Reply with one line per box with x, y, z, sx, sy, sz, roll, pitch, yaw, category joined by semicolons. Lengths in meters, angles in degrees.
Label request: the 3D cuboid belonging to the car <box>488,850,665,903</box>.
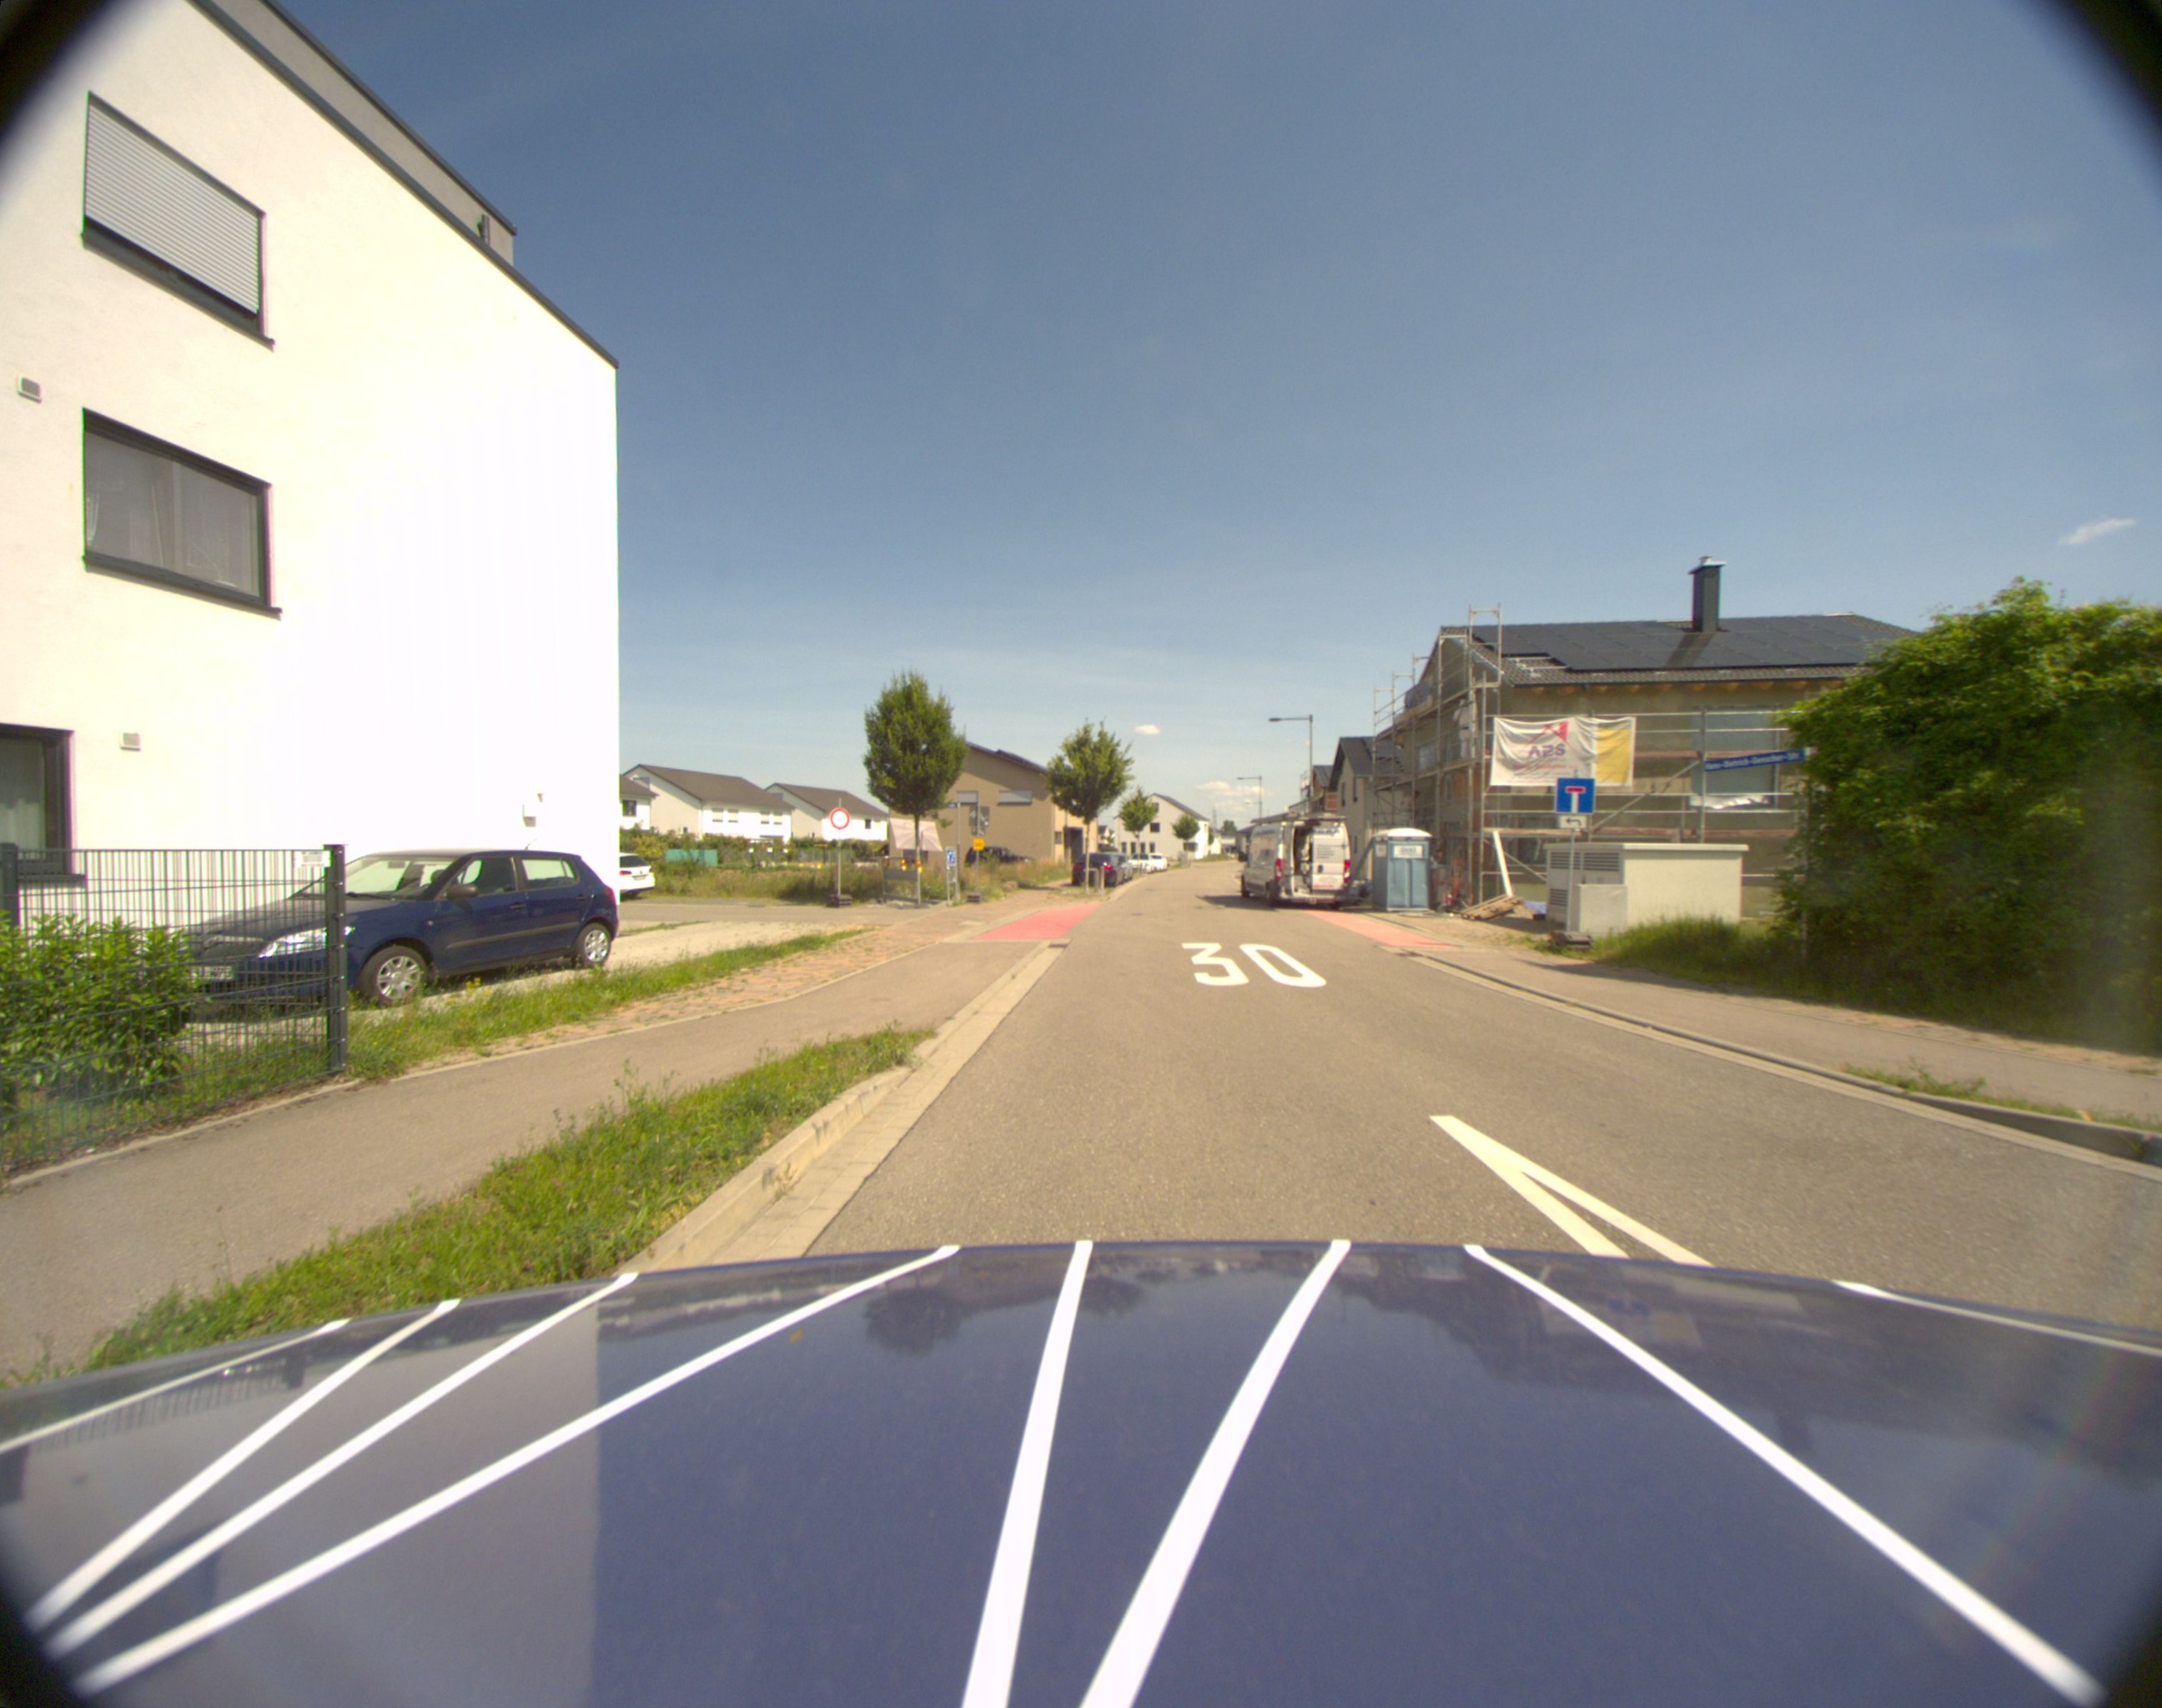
-15.101;0.650;22.862;4.166;1.427;1.883;1;2;6;car

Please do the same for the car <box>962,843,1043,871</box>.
-5.030;0.138;48.981;4.754;1.635;2.001;1;2;10;car

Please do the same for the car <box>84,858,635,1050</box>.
-6.937;0.807;8.063;1.681;1.461;4.118;-1;0;6;car

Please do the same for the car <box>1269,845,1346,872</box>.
14.354;0.281;48.423;4.432;1.603;2.001;1;1;8;car

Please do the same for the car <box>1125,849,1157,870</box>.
4.426;0.386;55.394;1.782;1.417;4.518;2;0;11;car

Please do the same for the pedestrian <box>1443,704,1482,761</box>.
10.630;-3.370;21.191;0.564;1.491;0.746;-1;4;-29;pedestrian

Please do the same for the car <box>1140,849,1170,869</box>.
6.033;0.372;61.527;1.817;1.447;4.568;2;1;13;car

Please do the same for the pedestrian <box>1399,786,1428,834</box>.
11.794;-1.566;26.990;0.747;1.671;0.578;1;3;4;pedestrian

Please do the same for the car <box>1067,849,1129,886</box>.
0.840;0.556;33.609;1.921;1.461;5.144;2;0;10;car

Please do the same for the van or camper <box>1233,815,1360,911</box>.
6.407;0.165;23.553;2.278;2.539;6.366;0;1;2;van or camper

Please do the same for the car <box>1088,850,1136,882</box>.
1.713;0.557;39.619;1.922;1.502;5.298;2;0;8;car
